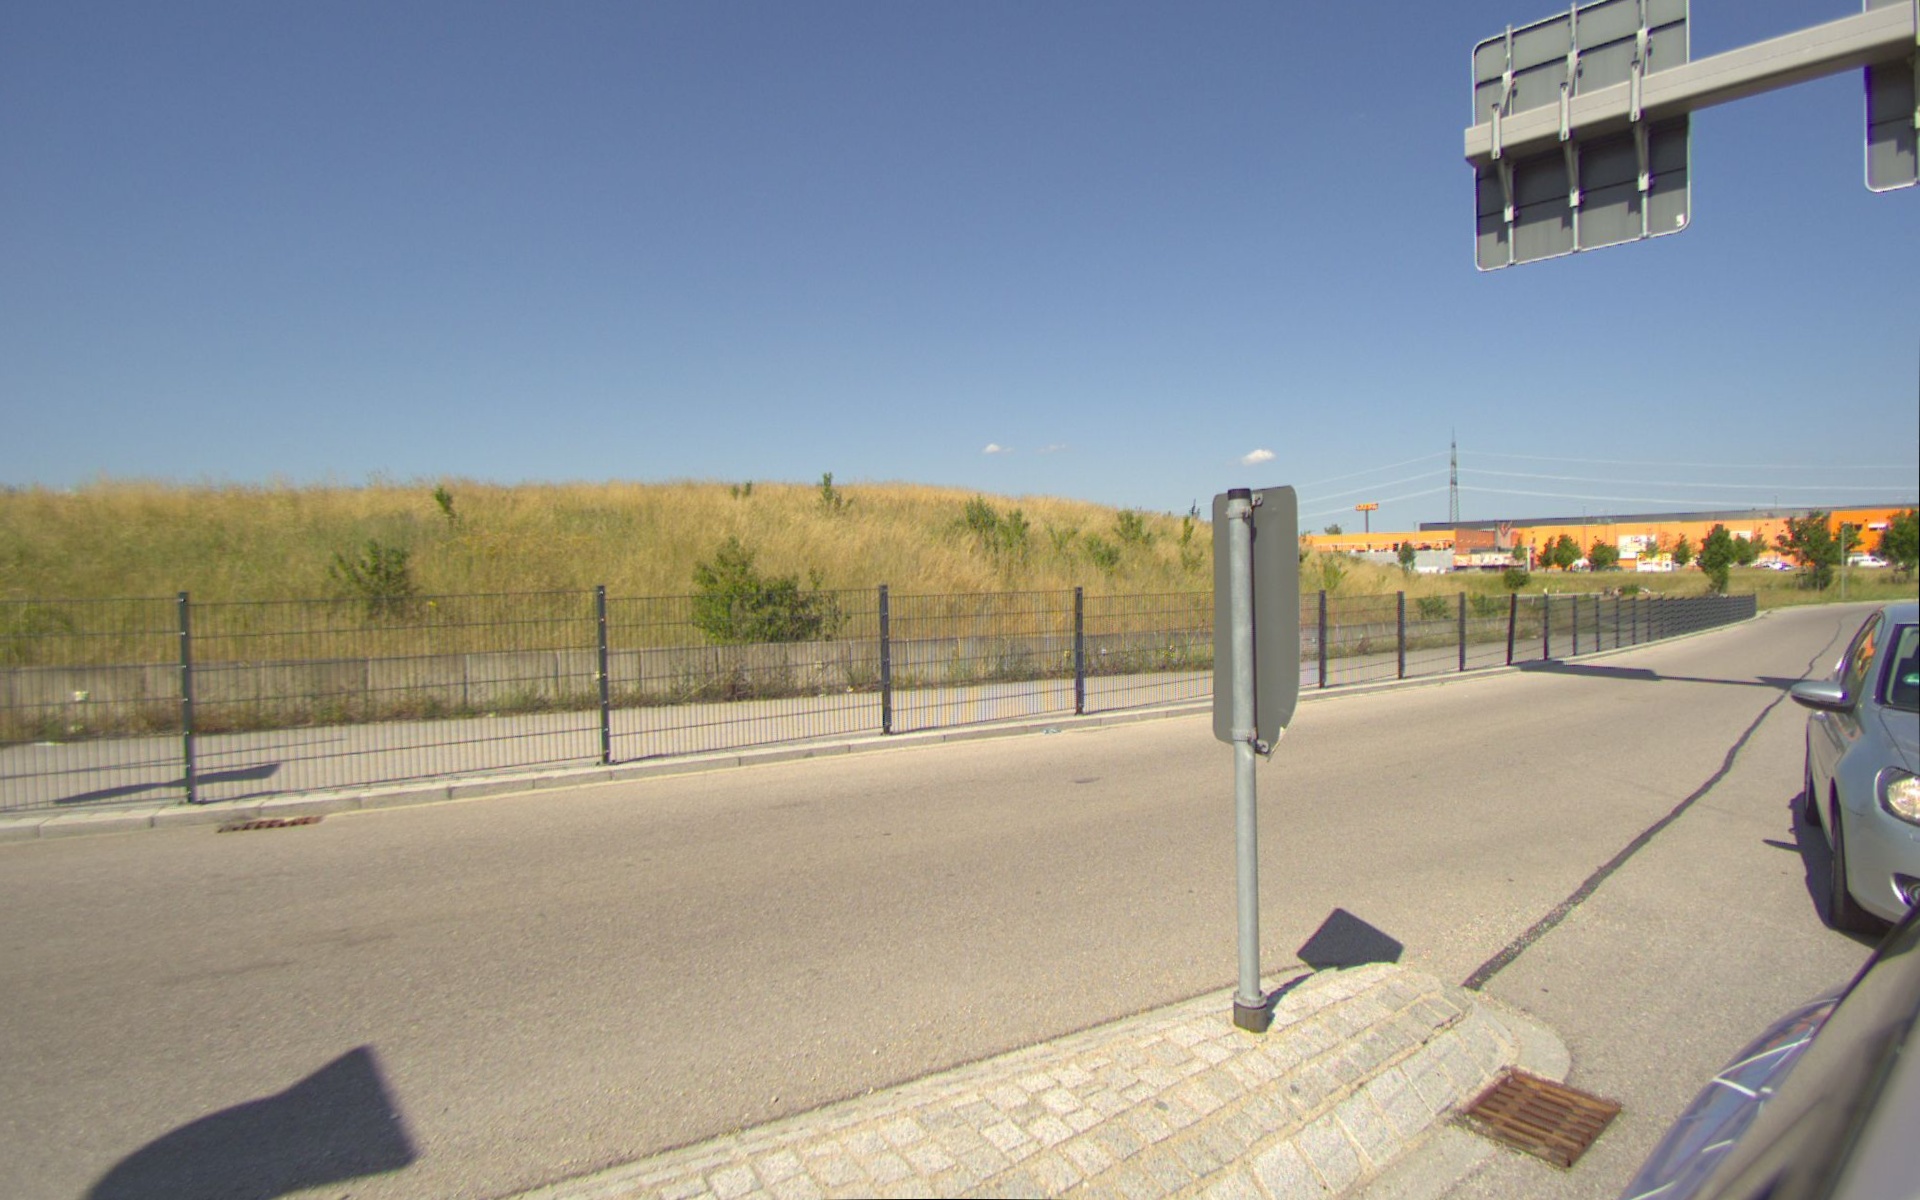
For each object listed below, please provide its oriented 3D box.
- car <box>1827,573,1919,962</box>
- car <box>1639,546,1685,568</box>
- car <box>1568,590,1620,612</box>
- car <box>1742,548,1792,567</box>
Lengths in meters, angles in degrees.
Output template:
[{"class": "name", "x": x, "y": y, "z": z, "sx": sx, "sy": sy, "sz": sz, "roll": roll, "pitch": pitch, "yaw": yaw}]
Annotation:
[{"class": "car", "x": 5.416, "y": 0.635, "z": 4.935, "sx": 1.740, "sy": 1.486, "sz": 3.903, "roll": 3, "pitch": 3, "yaw": 40}, {"class": "car", "x": 87.844, "y": -5.376, "z": 126.596, "sx": 4.611, "sy": 2.580, "sz": 1.973, "roll": -1, "pitch": 1, "yaw": 38}, {"class": "car", "x": 59.538, "y": 0.076, "z": 95.090, "sx": 3.980, "sy": 2.039, "sz": 1.972, "roll": 1, "pitch": 1, "yaw": 39}, {"class": "car", "x": 95.570, "y": -5.050, "z": 119.926, "sx": 4.611, "sy": 2.039, "sz": 1.973, "roll": -1, "pitch": 1, "yaw": 38}]
